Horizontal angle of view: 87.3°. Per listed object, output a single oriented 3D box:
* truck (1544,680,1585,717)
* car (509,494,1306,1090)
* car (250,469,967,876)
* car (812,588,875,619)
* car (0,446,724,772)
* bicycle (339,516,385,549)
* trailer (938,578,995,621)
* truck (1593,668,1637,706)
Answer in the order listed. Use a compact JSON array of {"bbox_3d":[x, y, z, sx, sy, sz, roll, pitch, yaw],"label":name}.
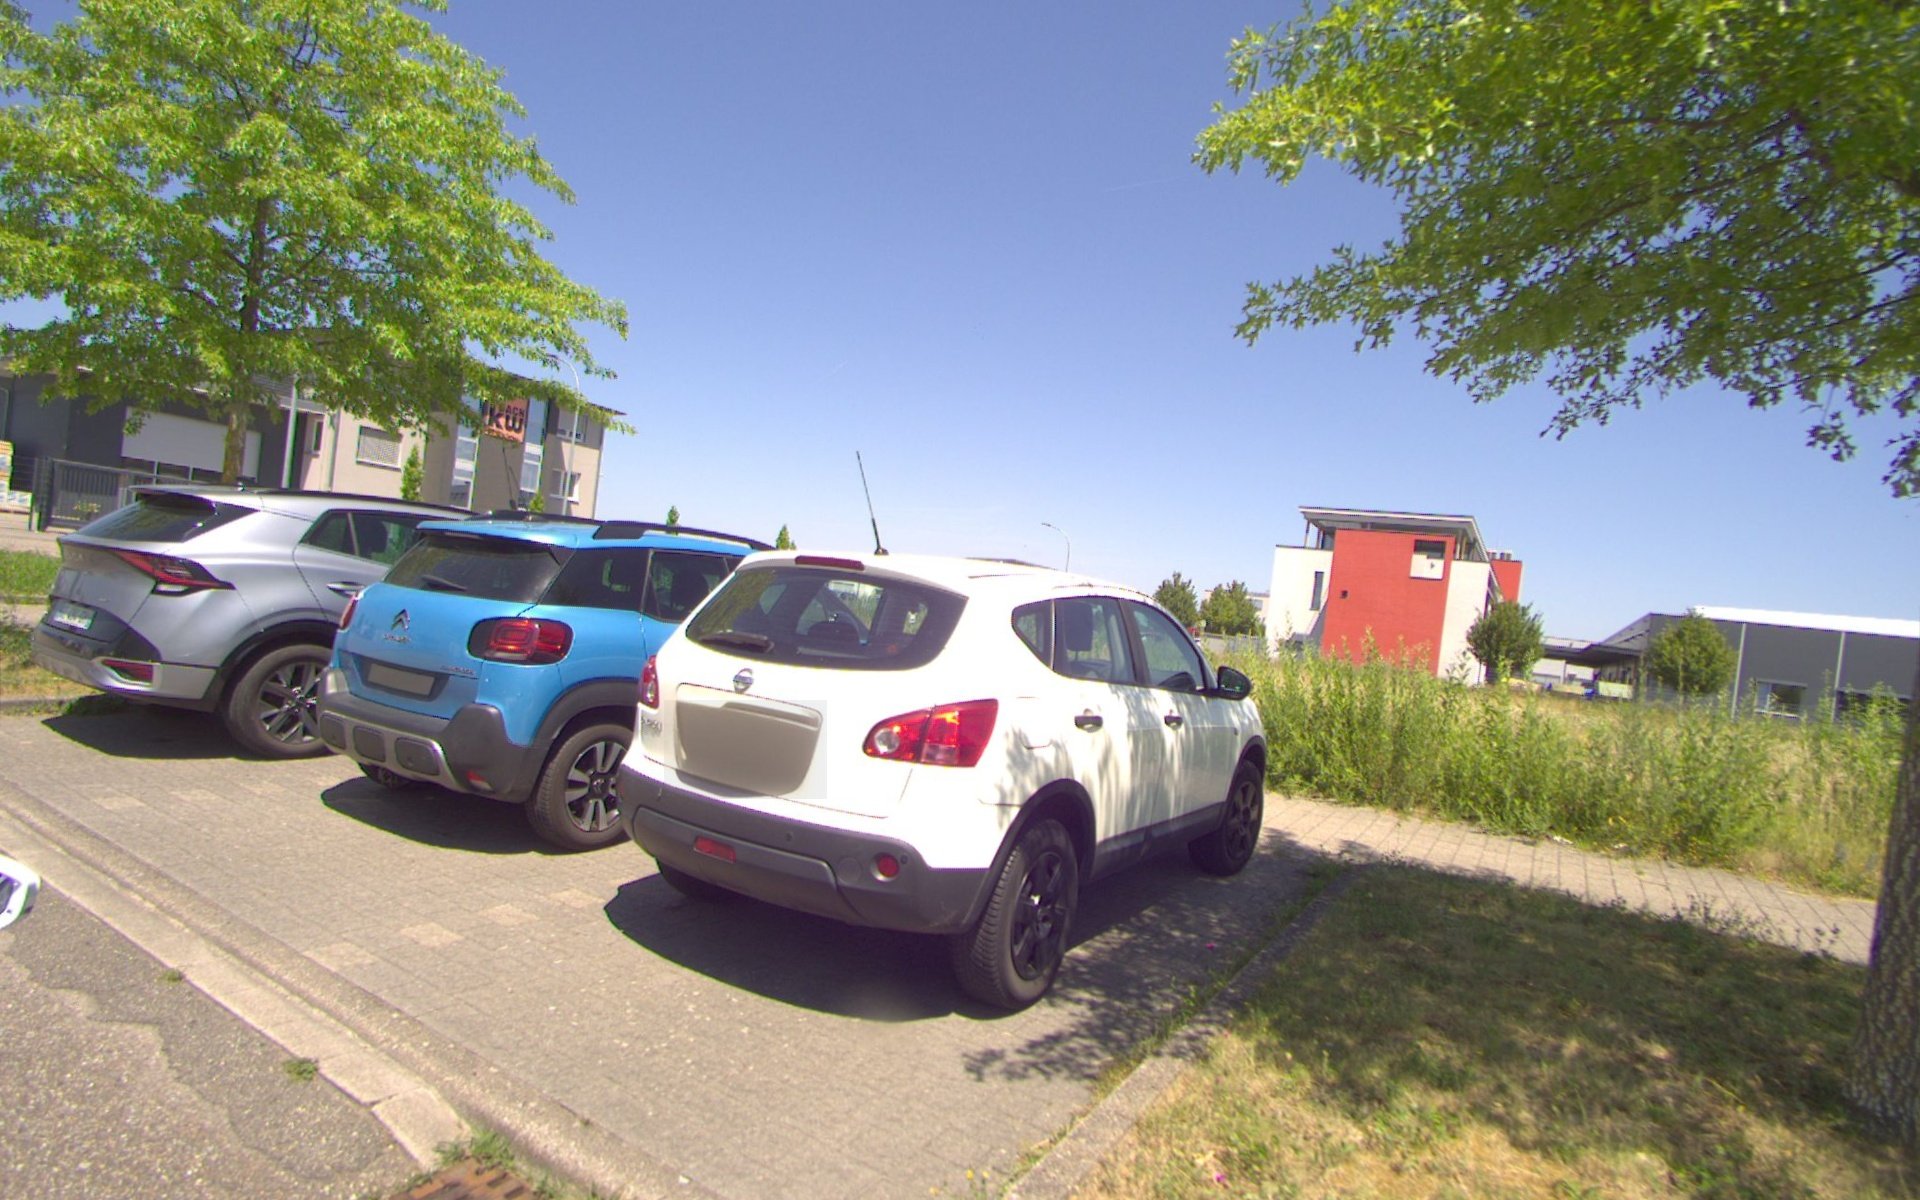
[{"bbox_3d":[39.034,6.323,65.010,1.966,2.039,4.348,7,0,31],"label":"truck"},{"bbox_3d":[0.207,0.607,5.053,1.870,1.628,4.071,6,0,32],"label":"car"},{"bbox_3d":[-1.812,0.357,6.430,1.807,1.665,3.991,7,1,31],"label":"car"},{"bbox_3d":[-6.807,0.224,59.198,1.650,1.401,3.634,9,1,32],"label":"car"},{"bbox_3d":[-4.037,0.081,7.533,1.820,1.665,4.282,7,1,31],"label":"car"},{"bbox_3d":[-25.901,-2.920,43.591,0.436,1.200,1.808,7,1,17],"label":"bicycle"},{"bbox_3d":[0.529,0.012,73.572,2.195,2.632,3.993,8,0,30],"label":"trailer"},{"bbox_3d":[41.658,5.503,64.080,1.966,2.039,3.992,7,0,31],"label":"truck"}]
